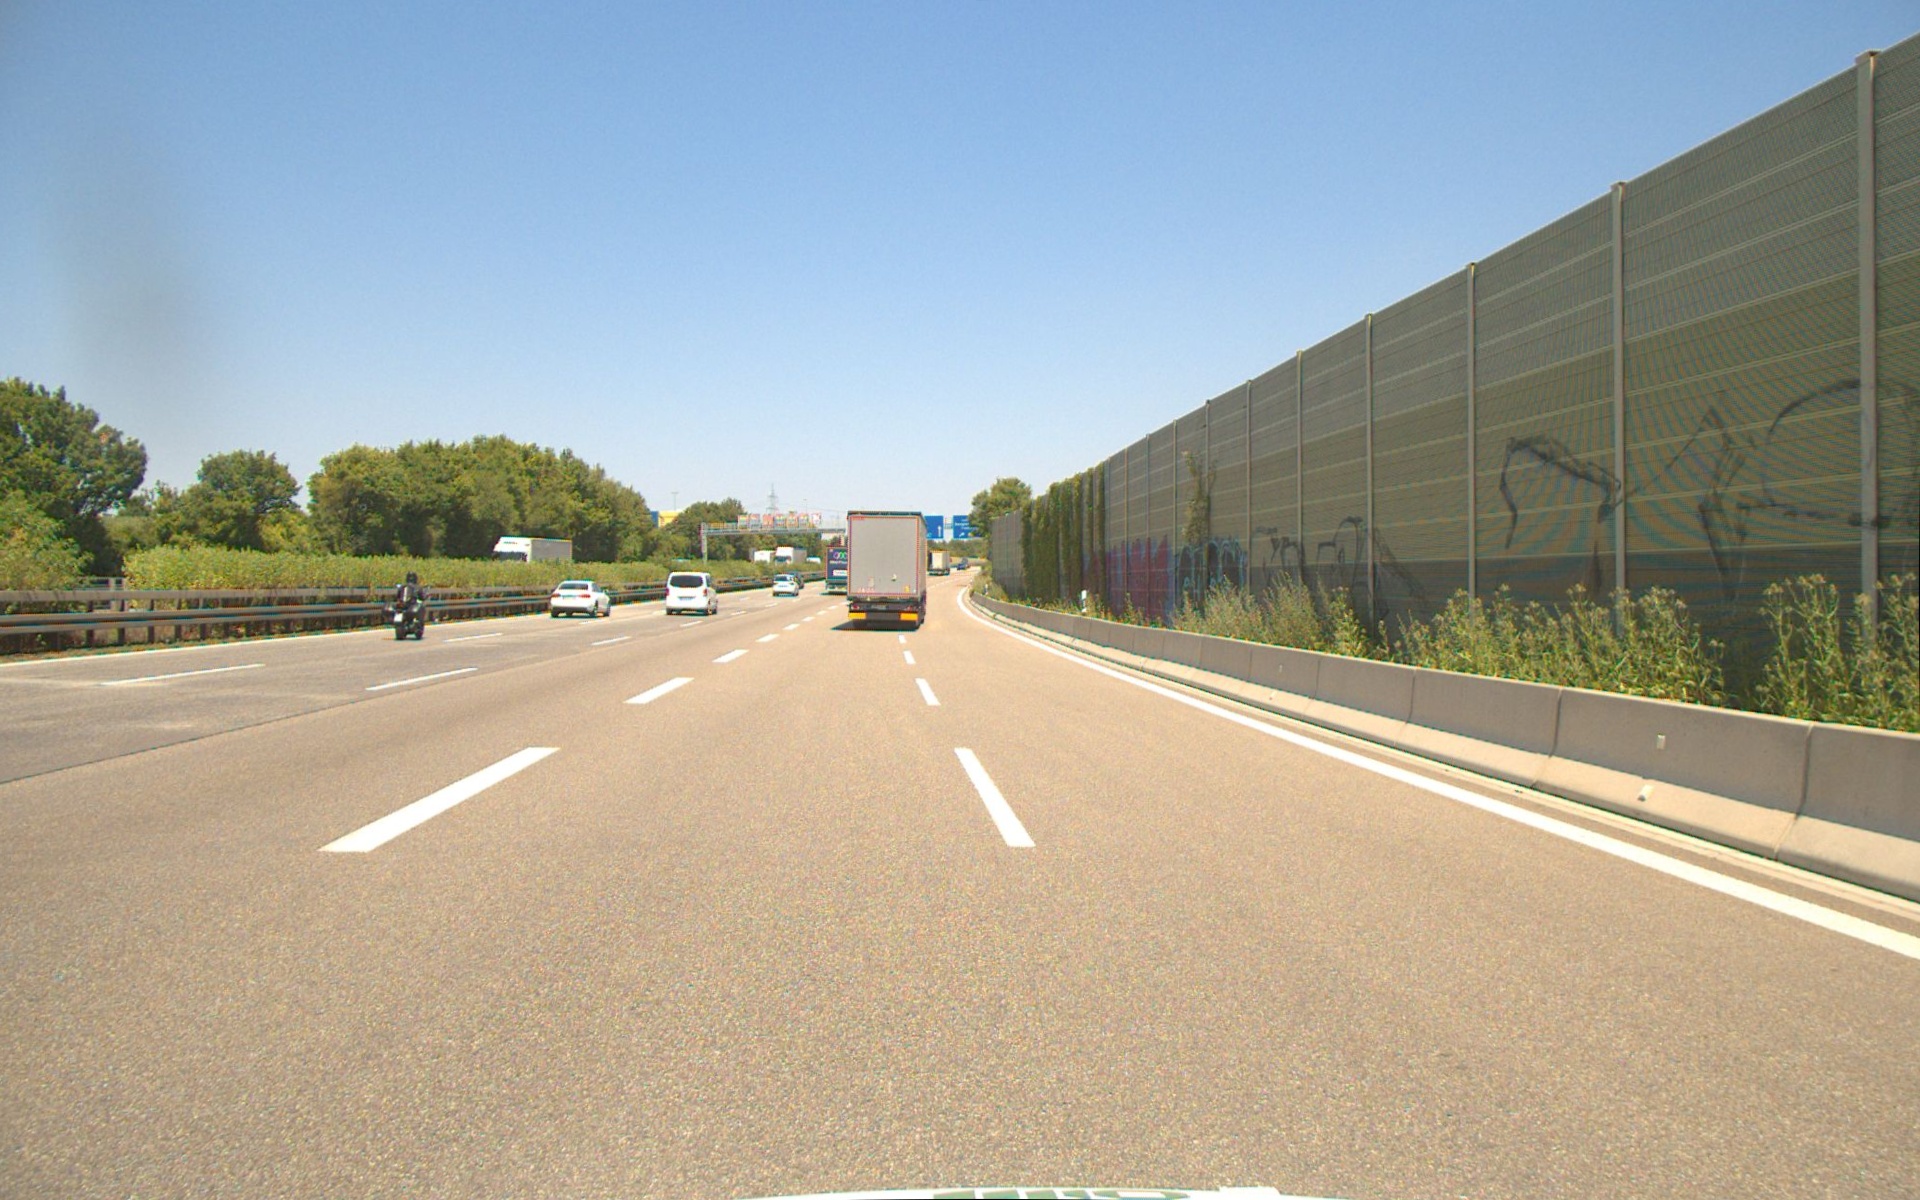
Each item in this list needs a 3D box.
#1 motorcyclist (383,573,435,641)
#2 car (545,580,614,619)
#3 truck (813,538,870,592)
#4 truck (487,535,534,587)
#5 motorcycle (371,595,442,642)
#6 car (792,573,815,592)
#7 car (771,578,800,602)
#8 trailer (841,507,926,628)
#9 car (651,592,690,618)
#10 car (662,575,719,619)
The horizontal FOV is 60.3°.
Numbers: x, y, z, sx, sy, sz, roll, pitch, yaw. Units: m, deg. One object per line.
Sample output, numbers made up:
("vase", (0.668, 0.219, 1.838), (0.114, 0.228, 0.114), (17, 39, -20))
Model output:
("motorcyclist", (-13.537, 0.166, 40.663), (0.875, 1.625, 1.298), (0, 0, -3))
("car", (-15.265, -0.024, 66.574), (1.839, 1.466, 5.122), (1, 0, -4))
("truck", (-10.153, -3.088, 143.174), (3.670, 4.344, 14.498), (1, 1, 0))
("truck", (-35.842, -3.099, 132.003), (2.487, 4.016, 5.165), (1, 1, -2))
("motorcycle", (-13.559, 0.427, 40.629), (0.894, 1.108, 2.848), (0, 0, -3))
("car", (-15.231, -1.698, 161.243), (1.865, 1.747, 4.630), (0, -1, 0))
("car", (-13.576, -0.791, 128.527), (1.866, 1.884, 4.630), (0, 1, -1))
("trailer", (-2.758, -1.180, 61.812), (2.869, 4.085, 12.035), (0, 1, -2))
("car", (-16.758, 0.296, 95.798), (1.722, 1.433, 5.035), (0, -1, -4))
("car", (-12.016, -0.103, 74.048), (1.891, 1.884, 4.690), (0, -1, -2))
